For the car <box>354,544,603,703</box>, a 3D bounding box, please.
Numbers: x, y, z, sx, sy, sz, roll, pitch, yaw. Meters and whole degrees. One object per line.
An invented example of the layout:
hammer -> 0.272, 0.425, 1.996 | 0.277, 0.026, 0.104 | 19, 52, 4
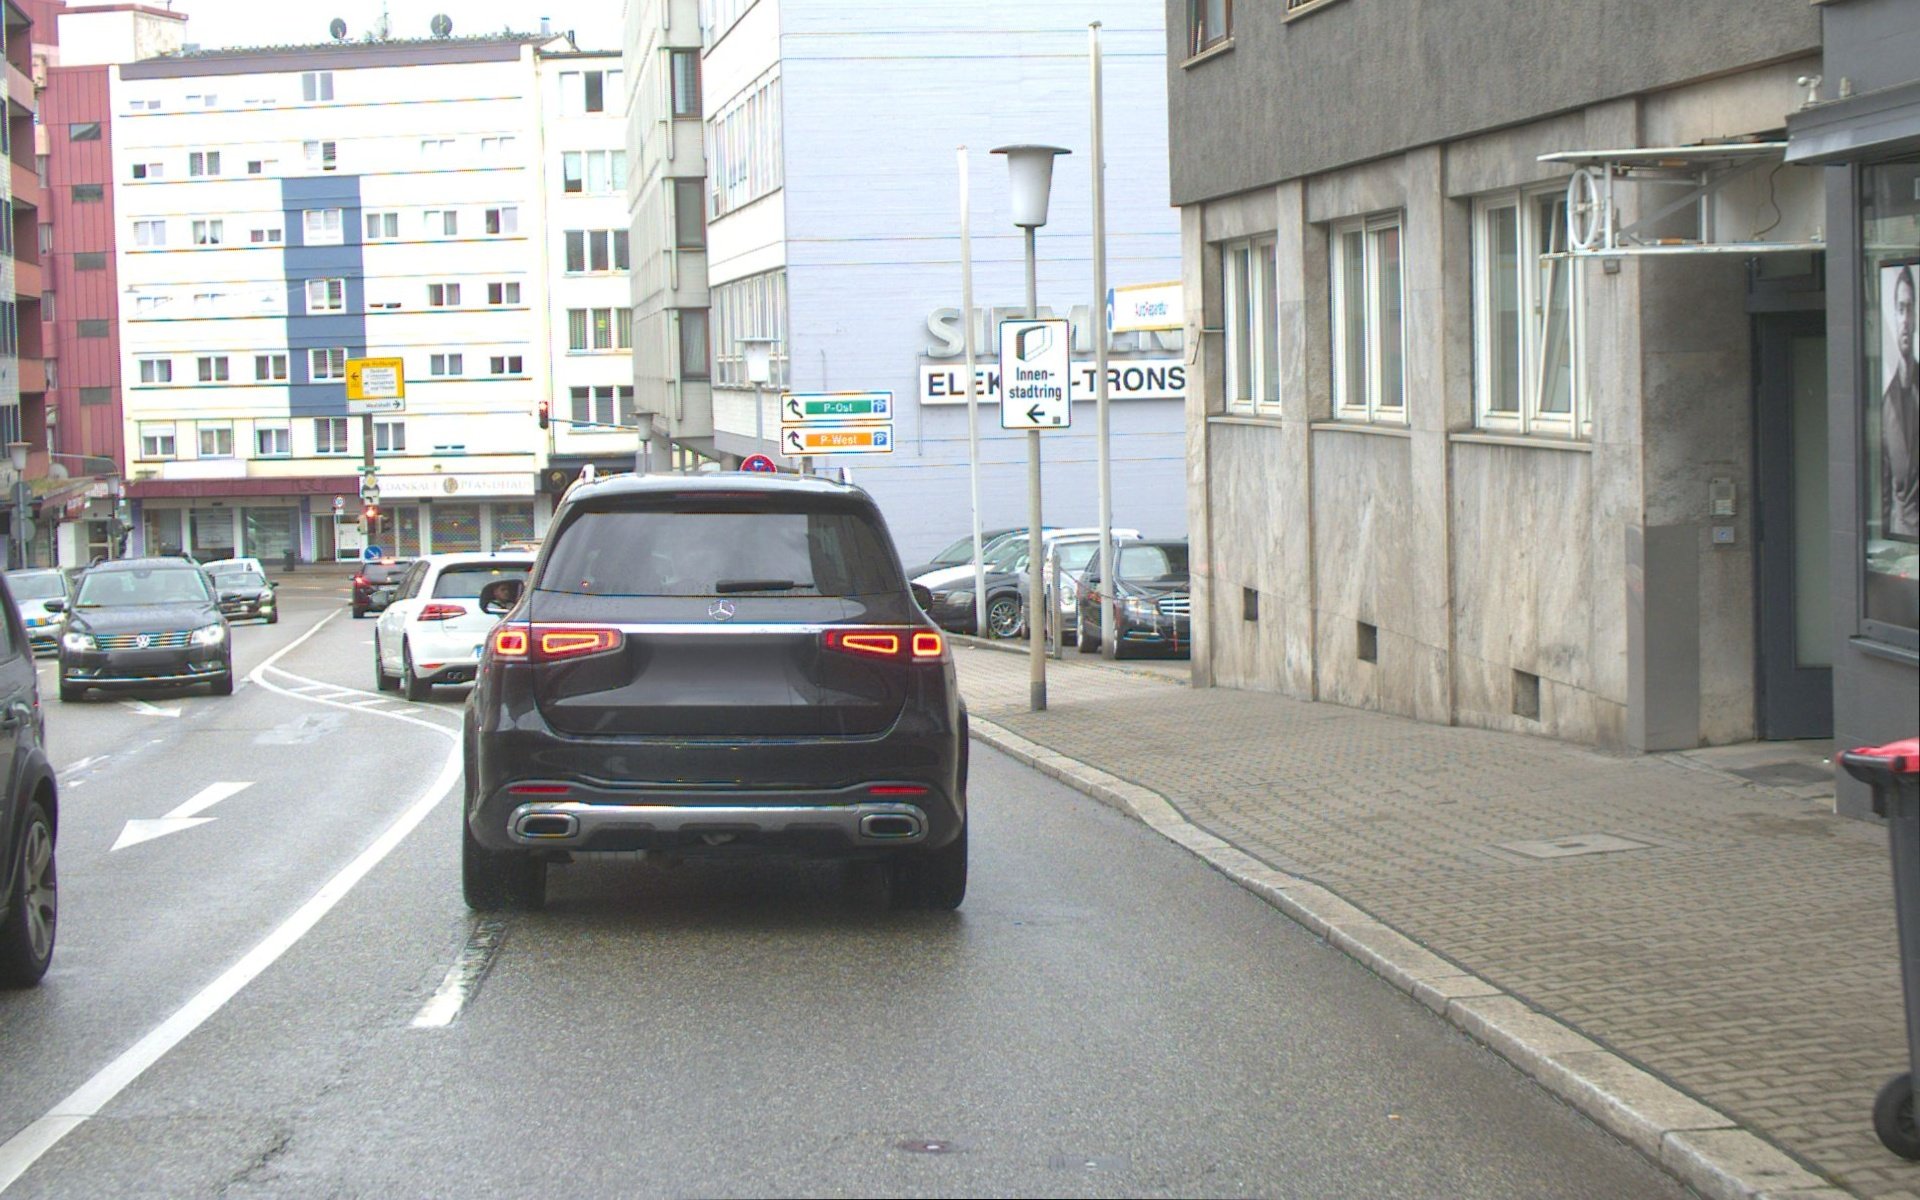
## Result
car -> -4.995, 0.193, 35.196 | 1.829, 1.456, 4.380 | -2, 1, -17

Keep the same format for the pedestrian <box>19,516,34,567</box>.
pedestrian -> -27.182, -1.701, 100.110 | 0.318, 1.469, 0.339 | -1, 5, -4

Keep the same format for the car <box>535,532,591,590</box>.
car -> -11.099, -1.092, 96.128 | 1.522, 1.543, 3.108 | -1, 2, -6

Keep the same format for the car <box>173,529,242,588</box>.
car -> -24.418, -1.362, 111.644 | 1.869, 1.747, 4.400 | -4, 2, -10

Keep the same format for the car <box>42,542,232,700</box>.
car -> -8.742, 0.207, 36.788 | 1.723, 1.510, 4.370 | -3, 1, -11

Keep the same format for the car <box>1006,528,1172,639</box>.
car -> 1.746, -0.257, 47.575 | 1.565, 1.472, 4.071 | 0, 1, -9

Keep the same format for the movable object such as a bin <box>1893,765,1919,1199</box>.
movable object such as a bin -> 2.248, 0.843, 7.018 | 0.525, 0.947, 0.537 | 0, 5, 0

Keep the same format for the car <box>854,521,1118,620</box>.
car -> 0.434, -0.476, 56.803 | 3.986, 1.592, 1.799 | 0, 0, -27

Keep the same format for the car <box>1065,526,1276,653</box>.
car -> 2.518, -0.163, 42.126 | 1.796, 1.472, 4.486 | 0, 1, -7

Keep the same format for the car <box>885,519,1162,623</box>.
car -> 1.001, -0.439, 54.256 | 3.986, 1.592, 1.799 | 0, 0, -27

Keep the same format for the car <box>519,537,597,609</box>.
car -> -9.080, -0.623, 77.497 | 1.522, 1.543, 3.108 | -1, 2, -11

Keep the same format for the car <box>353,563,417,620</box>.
car -> -13.954, -0.208, 83.471 | 1.285, 1.120, 2.788 | -1, 5, -5

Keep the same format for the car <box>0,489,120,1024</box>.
car -> -3.921, 0.492, 10.457 | 1.806, 1.699, 4.562 | 1, 0, -3

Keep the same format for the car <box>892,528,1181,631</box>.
car -> 1.159, -0.298, 51.662 | 3.986, 1.489, 1.733 | 0, 0, -27

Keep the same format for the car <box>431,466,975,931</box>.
car -> -1.227, 0.342, 15.273 | 2.020, 1.733, 4.748 | 1, 1, -7

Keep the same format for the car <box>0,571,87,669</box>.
car -> -16.407, 0.354, 60.193 | 1.714, 1.581, 4.144 | -4, 1, -9

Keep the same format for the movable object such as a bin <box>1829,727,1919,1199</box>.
movable object such as a bin -> 2.253, 0.800, 7.579 | 0.525, 0.977, 0.537 | 0, 5, 0

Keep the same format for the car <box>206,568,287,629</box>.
car -> -17.094, -0.061, 82.284 | 1.714, 1.313, 4.145 | -2, 2, -14
